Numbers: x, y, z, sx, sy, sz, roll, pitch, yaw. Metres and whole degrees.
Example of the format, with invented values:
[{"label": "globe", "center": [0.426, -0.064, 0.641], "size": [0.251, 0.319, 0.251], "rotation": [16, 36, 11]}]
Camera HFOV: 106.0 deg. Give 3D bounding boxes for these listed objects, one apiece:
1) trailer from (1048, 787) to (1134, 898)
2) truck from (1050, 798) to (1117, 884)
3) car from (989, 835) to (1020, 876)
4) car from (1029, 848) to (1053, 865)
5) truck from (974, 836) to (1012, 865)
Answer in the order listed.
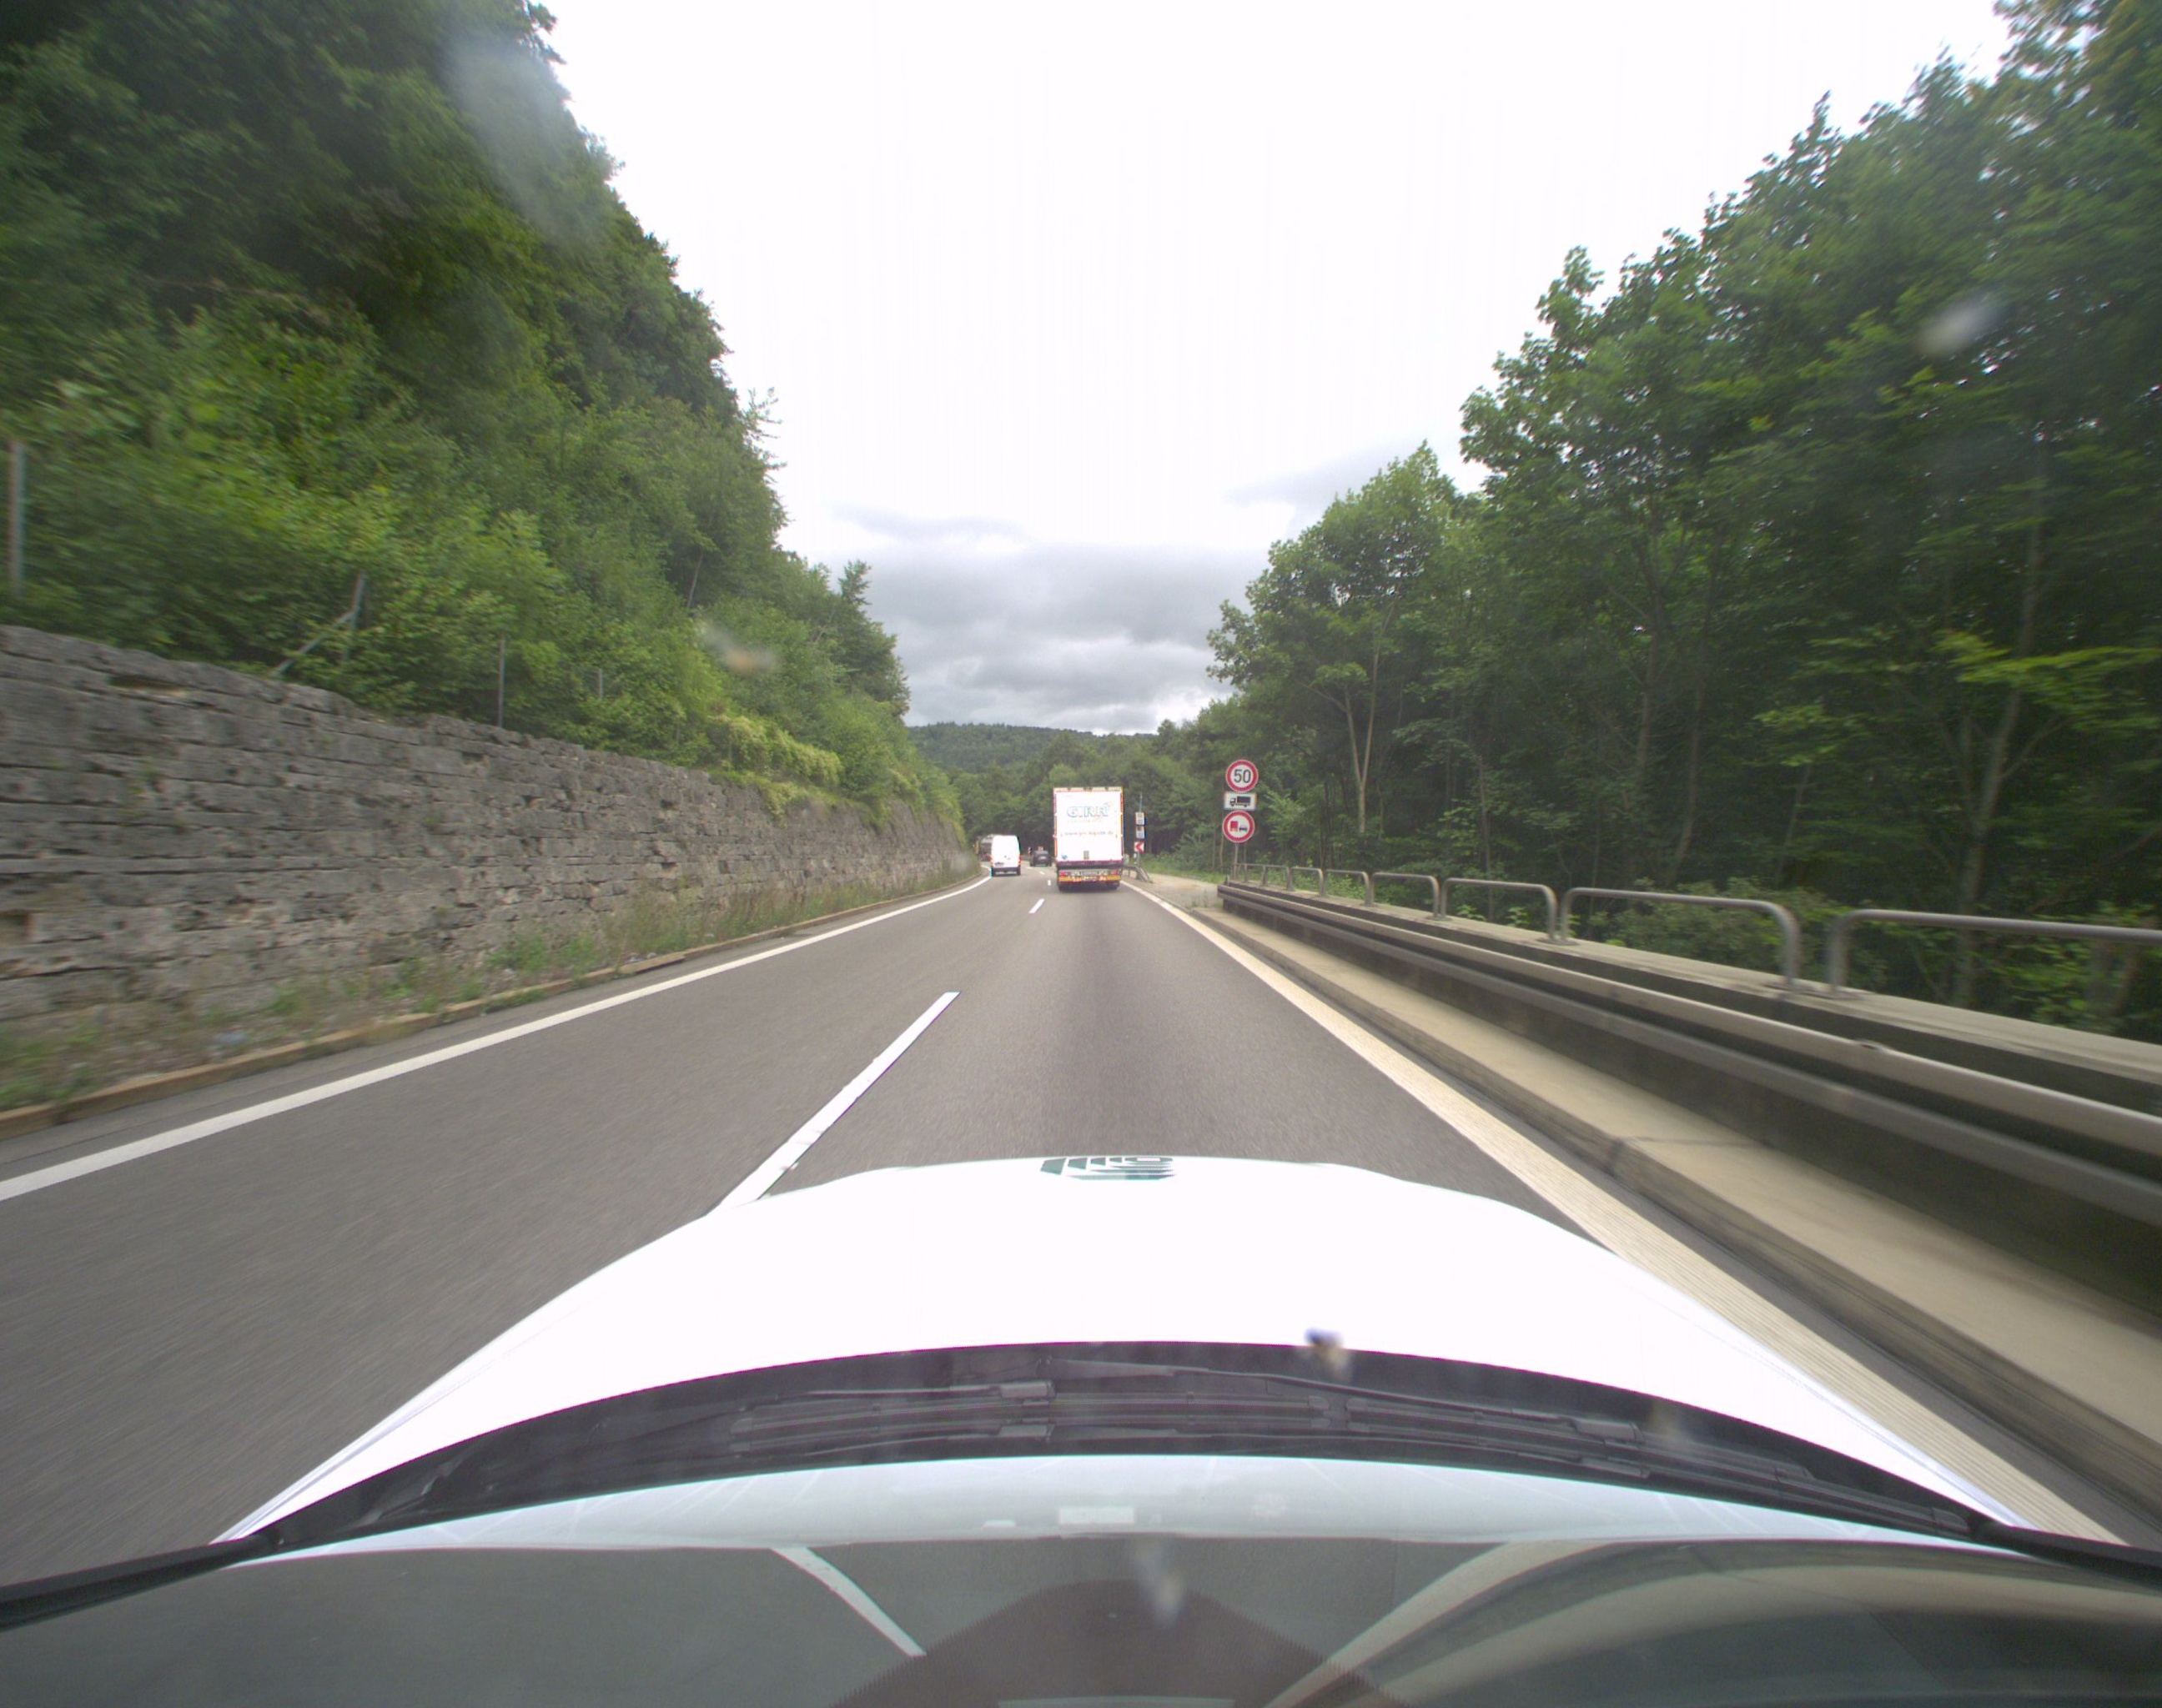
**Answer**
[{"label": "trailer", "center": [0.218, -0.568, 35.941], "size": [3.049, 3.985, 12.130], "rotation": [1, 1, -2]}, {"label": "truck", "center": [0.032, -0.713, 42.353], "size": [3.049, 3.985, 7.183], "rotation": [1, 1, -2]}, {"label": "car", "center": [-5.242, 0.083, 56.433], "size": [1.985, 2.672, 6.925], "rotation": [1, 0, -4]}, {"label": "car", "center": [-4.097, 0.270, 82.028], "size": [1.993, 1.662, 3.988], "rotation": [1, 0, -9]}, {"label": "truck", "center": [-13.119, -0.629, 120.288], "size": [3.064, 3.986, 13.622], "rotation": [-2, 1, -16]}]
